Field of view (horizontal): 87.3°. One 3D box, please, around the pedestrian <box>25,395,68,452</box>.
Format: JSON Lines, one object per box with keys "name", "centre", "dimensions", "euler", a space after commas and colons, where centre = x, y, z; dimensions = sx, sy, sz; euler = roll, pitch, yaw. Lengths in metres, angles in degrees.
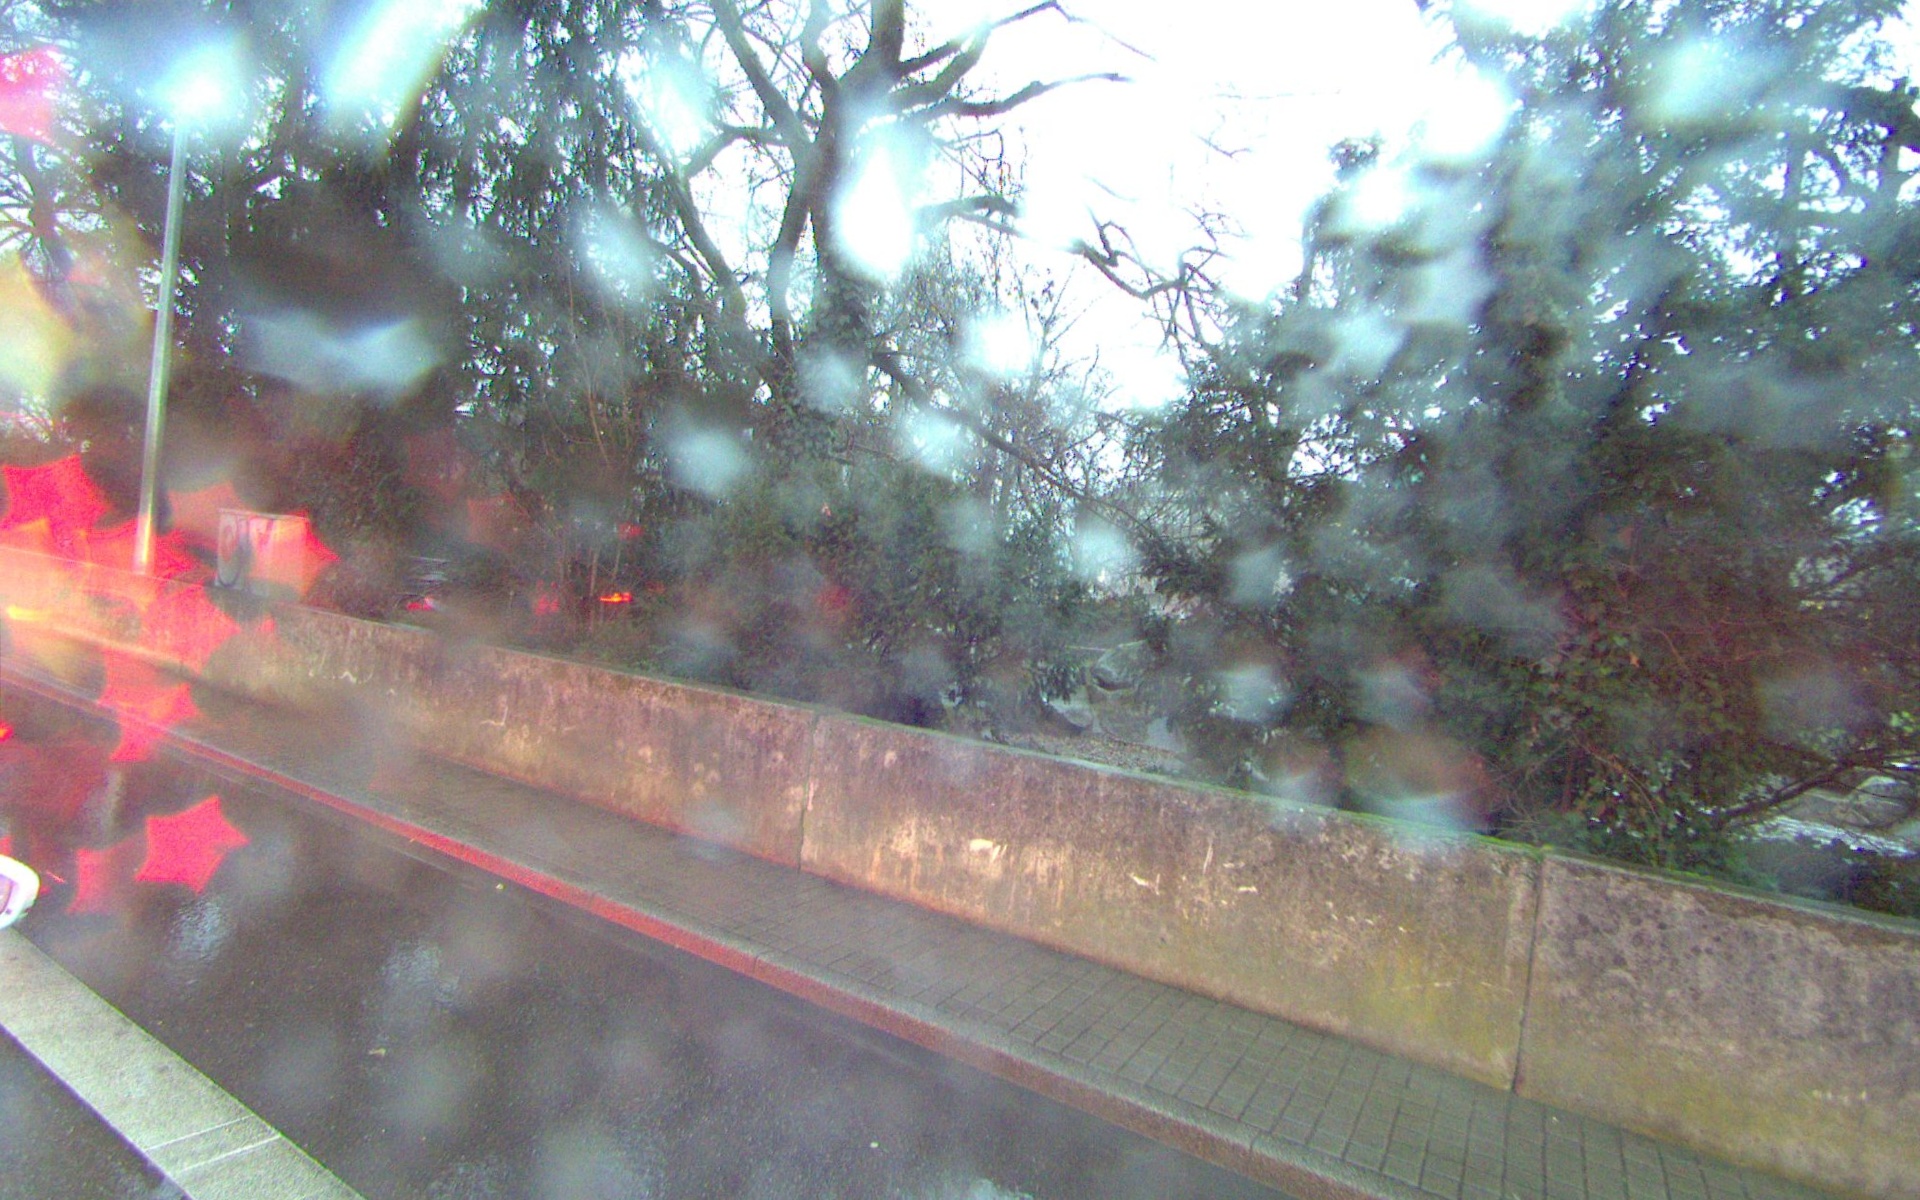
{"name": "pedestrian", "centre": [-36.201, -6.987, 39.881], "dimensions": [0.992, 2.039, 0.959], "euler": [7, 1, 35]}
